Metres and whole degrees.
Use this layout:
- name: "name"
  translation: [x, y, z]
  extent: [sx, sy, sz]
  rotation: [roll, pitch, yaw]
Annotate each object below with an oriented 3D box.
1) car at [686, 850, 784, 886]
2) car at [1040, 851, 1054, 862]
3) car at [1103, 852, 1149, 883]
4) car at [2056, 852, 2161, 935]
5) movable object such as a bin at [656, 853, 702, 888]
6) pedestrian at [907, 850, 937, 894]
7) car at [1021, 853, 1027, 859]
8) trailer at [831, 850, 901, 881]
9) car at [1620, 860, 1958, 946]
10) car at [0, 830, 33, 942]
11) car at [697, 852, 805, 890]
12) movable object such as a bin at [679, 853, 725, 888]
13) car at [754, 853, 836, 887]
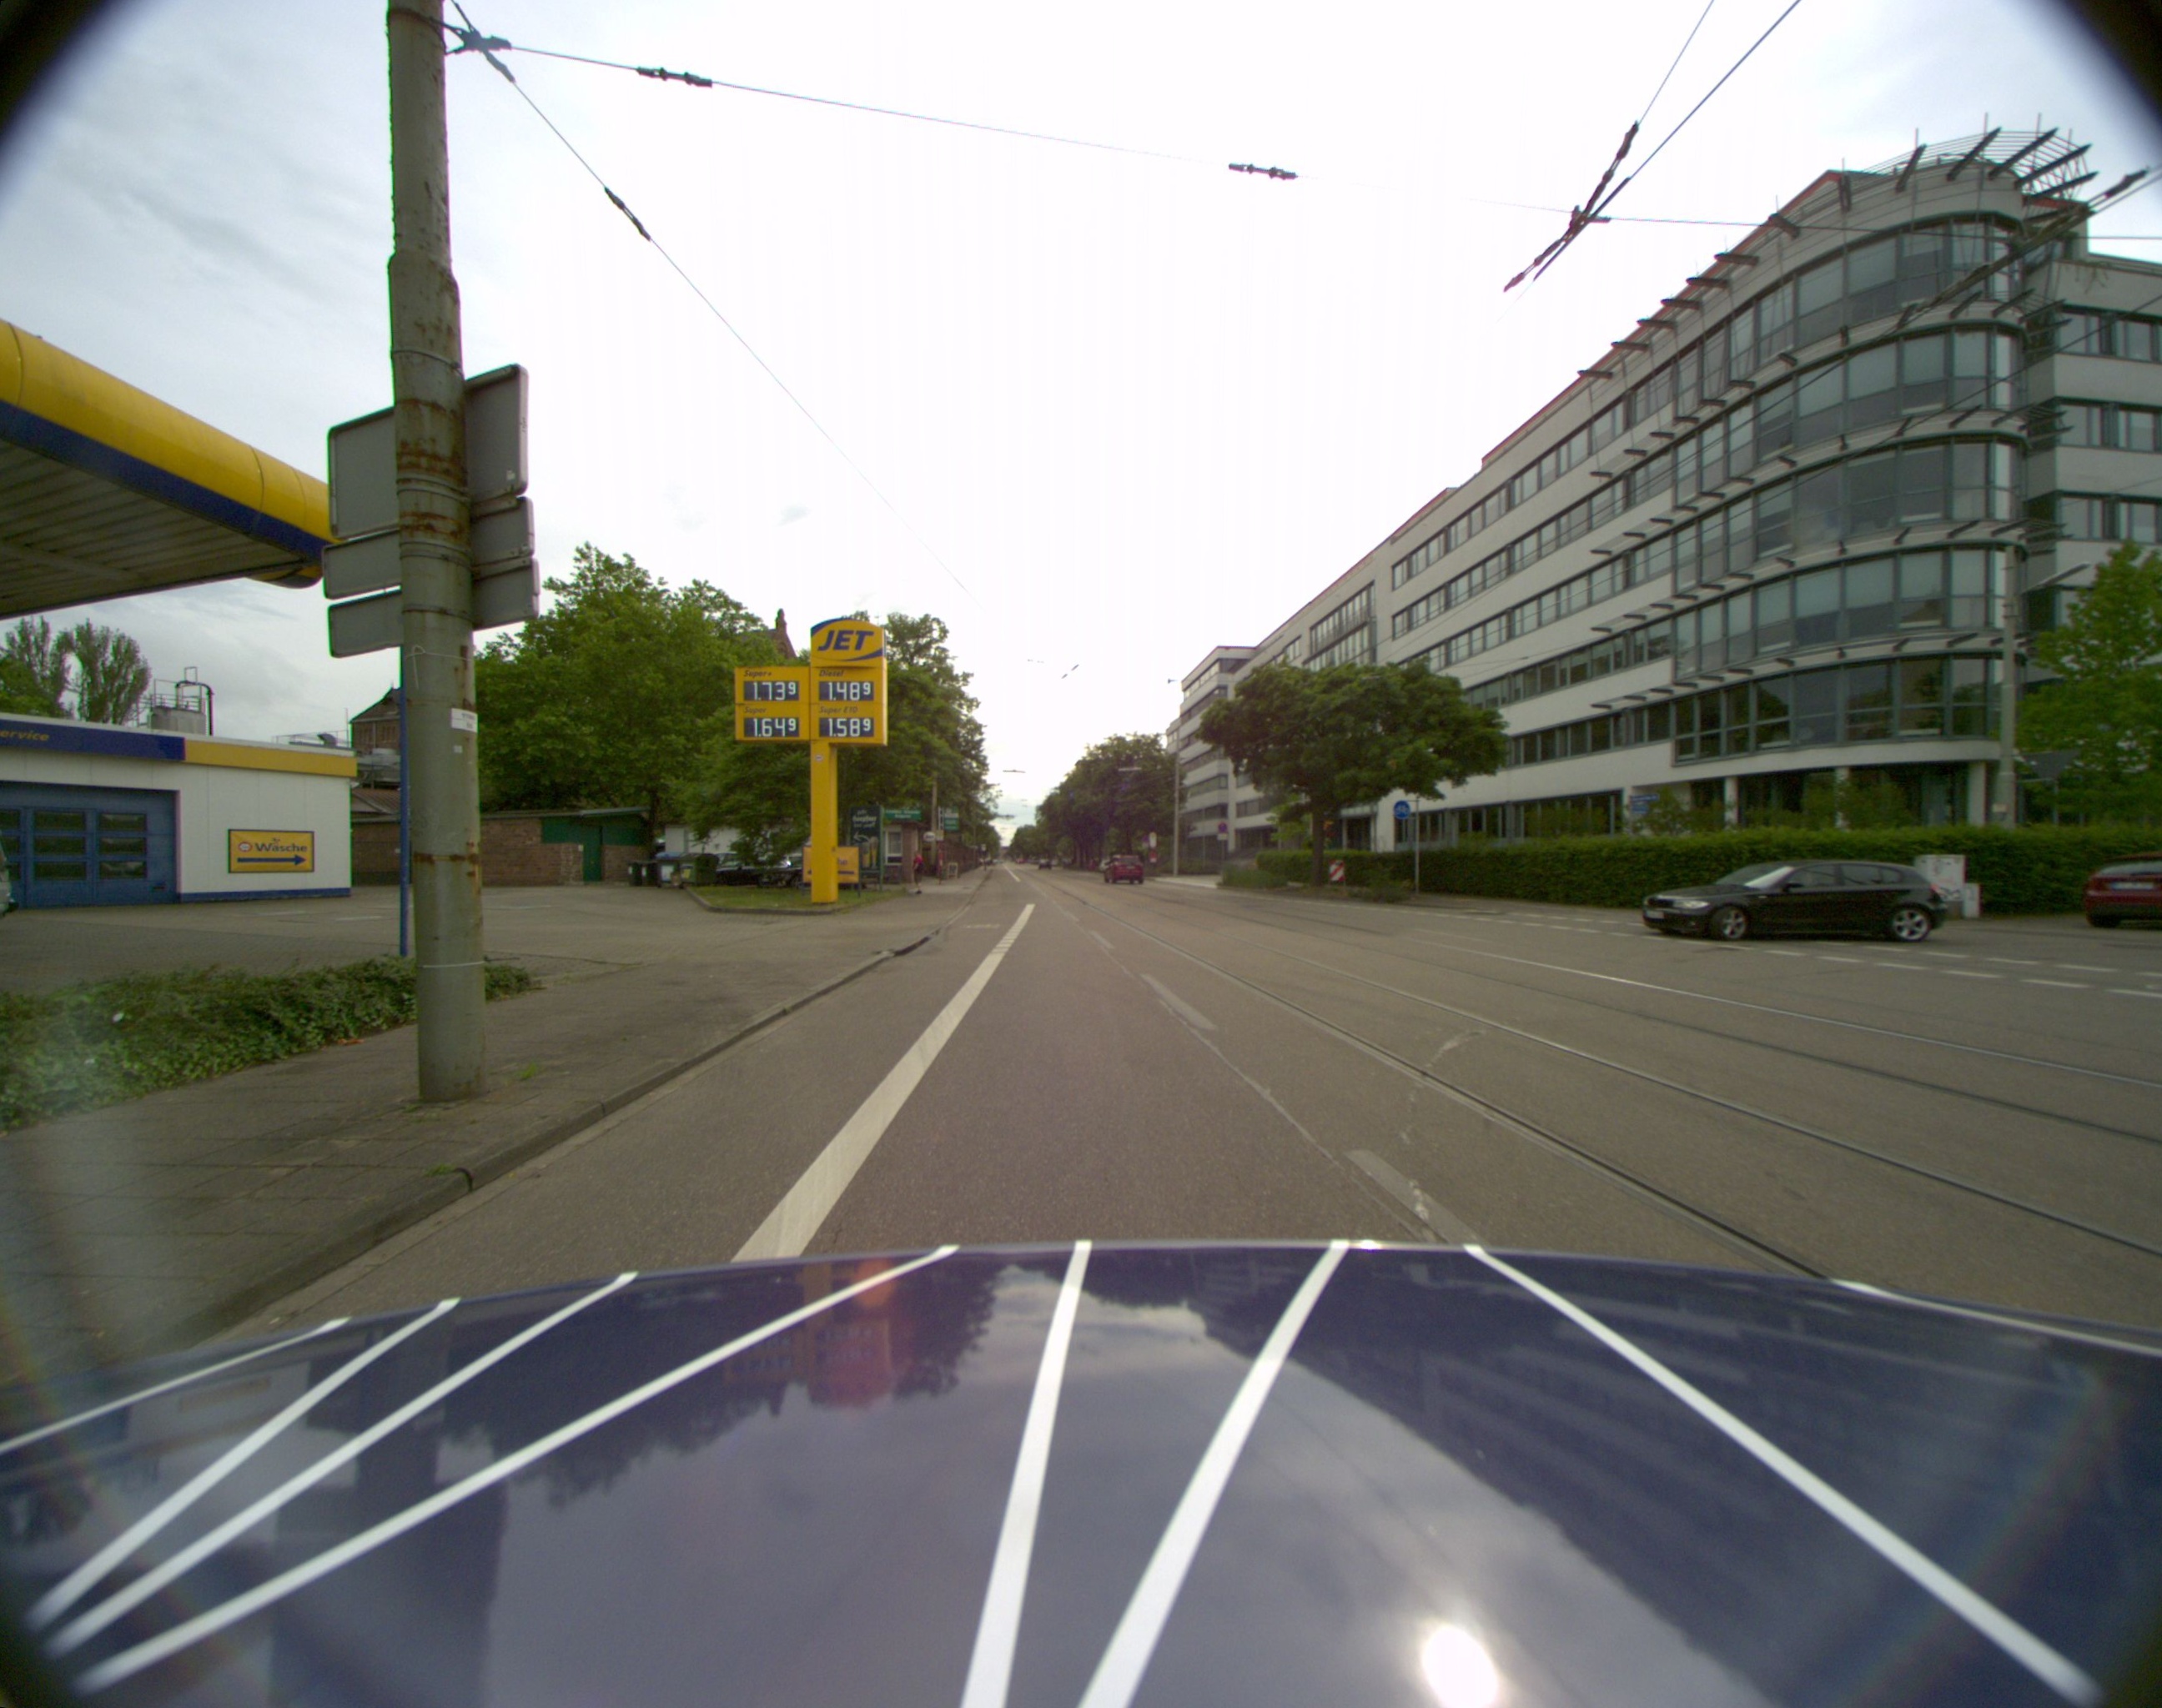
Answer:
- name: "car"
  translation: [-17.241, 0.677, 38.021]
  extent: [3.999, 1.657, 1.999]
  rotation: [-1, 1, -5]
- name: "car"
  translation: [-5.220, 0.384, 116.206]
  extent: [1.802, 1.537, 4.477]
  rotation: [-1, 0, -8]
- name: "car"
  translation: [2.623, 0.755, 45.434]
  extent: [1.848, 1.714, 4.404]
  rotation: [0, 0, -9]
- name: "car"
  translation: [20.856, 0.677, 13.953]
  extent: [4.018, 1.413, 1.724]
  rotation: [-1, 1, -5]
- name: "movable object such as a bin"
  translation: [-16.038, 0.637, 30.315]
  extent: [1.118, 1.351, 1.162]
  rotation: [-1, 1, 29]
- name: "pedestrian"
  translation: [-6.416, 0.723, 30.616]
  extent: [0.871, 1.738, 0.848]
  rotation: [2, 1, -31]
- name: "car"
  translation: [-18.864, 0.619, 251.390]
  extent: [1.999, 2.002, 3.999]
  rotation: [-1, 1, -1]
- name: "trailer"
  translation: [-11.459, 0.584, 40.621]
  extent: [3.292, 1.523, 1.772]
  rotation: [1, 2, -5]
- name: "car"
  translation: [12.294, 0.837, 13.471]
  extent: [4.107, 1.361, 1.789]
  rotation: [-1, 1, 8]
- name: "car"
  translation: [-19.760, 0.455, 11.338]
  extent: [4.538, 1.832, 1.981]
  rotation: [2, 0, -44]
- name: "car"
  translation: [-14.528, 0.700, 33.650]
  extent: [1.822, 1.509, 4.008]
  rotation: [-1, 1, 35]
- name: "movable object such as a bin"
  translation: [-14.872, 0.643, 29.849]
  extent: [1.118, 1.312, 1.162]
  rotation: [-1, 1, 29]
- name: "car"
  translation: [-11.990, 0.644, 32.183]
  extent: [1.999, 1.281, 3.999]
  rotation: [-1, 0, -1]
